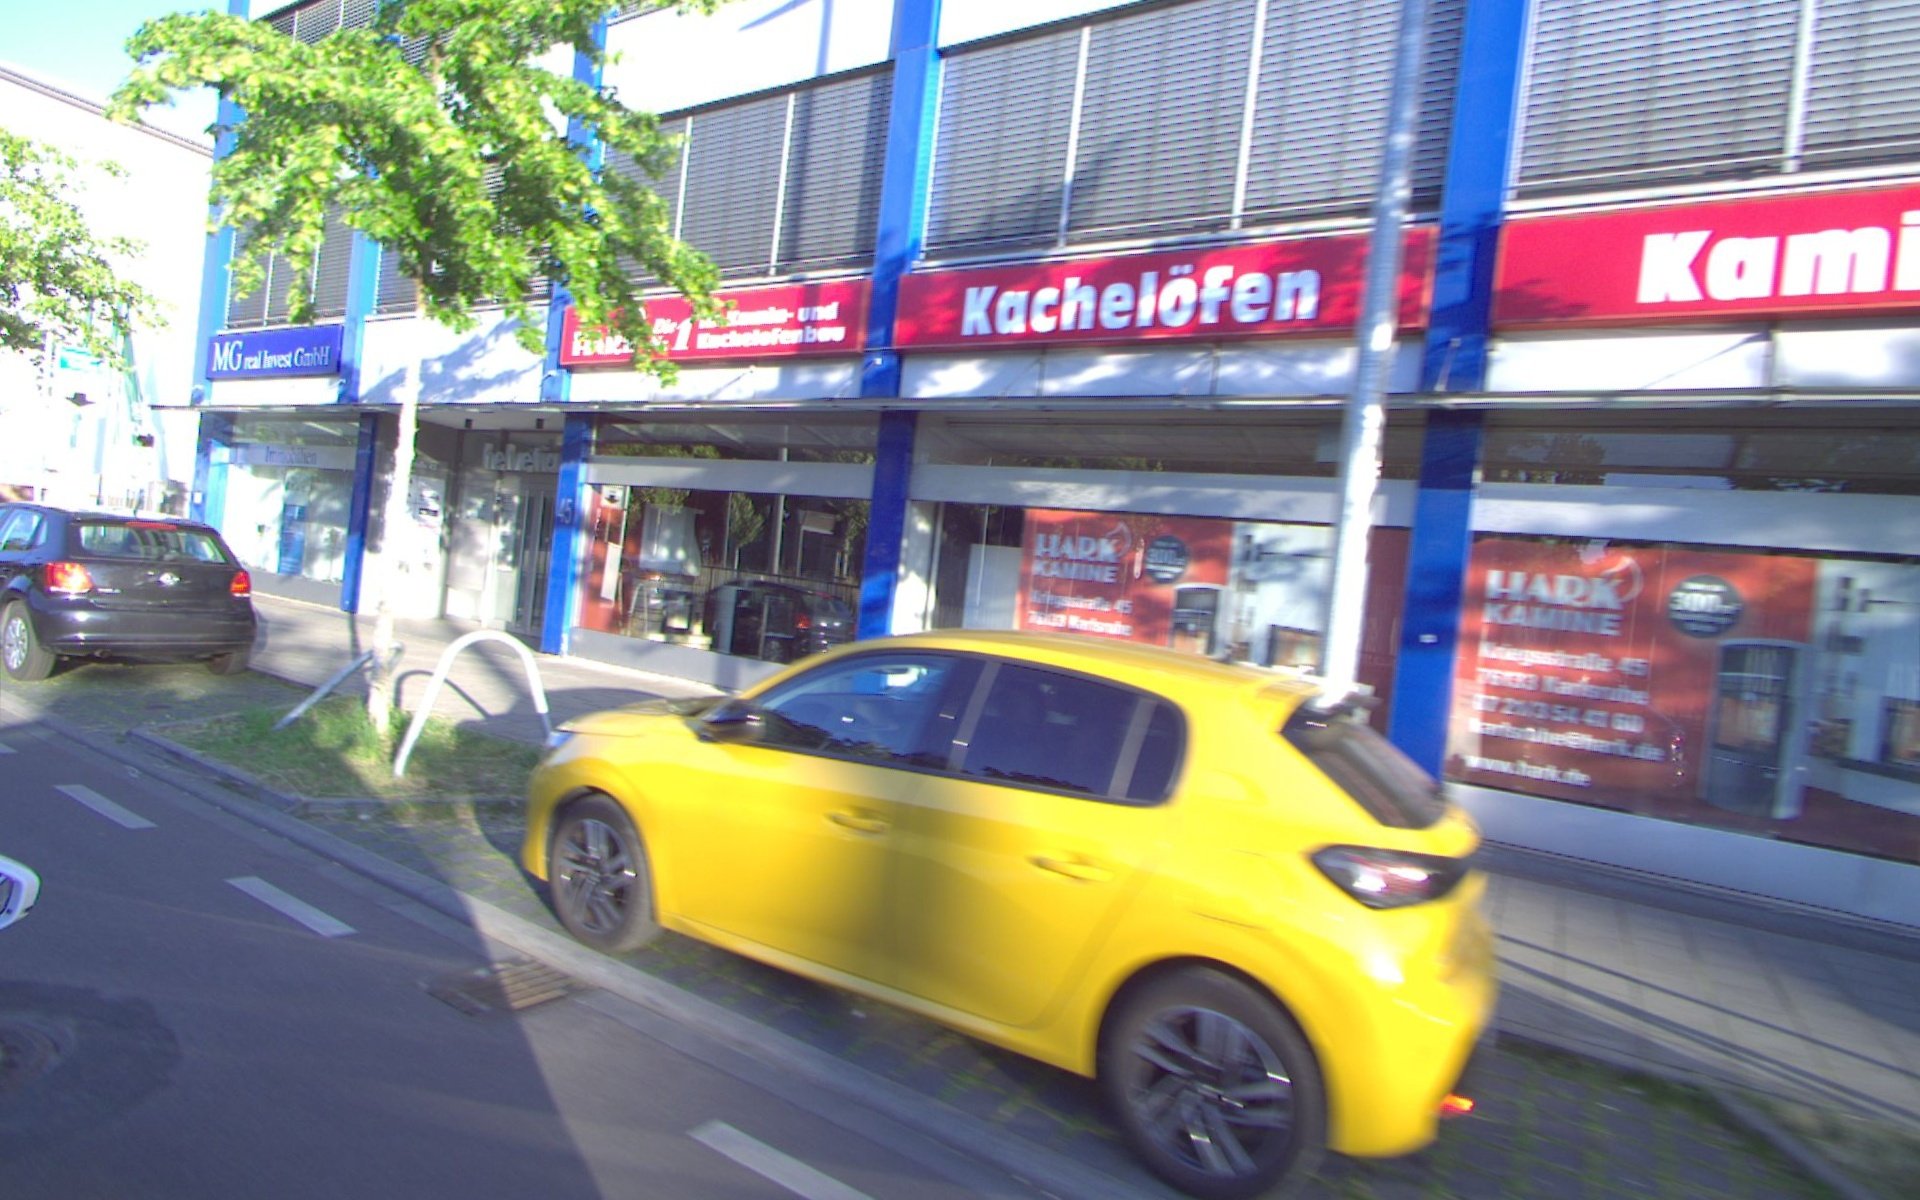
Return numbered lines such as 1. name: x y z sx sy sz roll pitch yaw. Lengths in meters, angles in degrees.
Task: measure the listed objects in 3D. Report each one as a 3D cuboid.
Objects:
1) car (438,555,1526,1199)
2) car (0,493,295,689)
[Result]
1. car: -0.094 0.772 4.129 4.060 1.473 1.685 6 1 31
2. car: -8.411 -0.193 9.539 4.058 1.473 1.821 6 1 30
